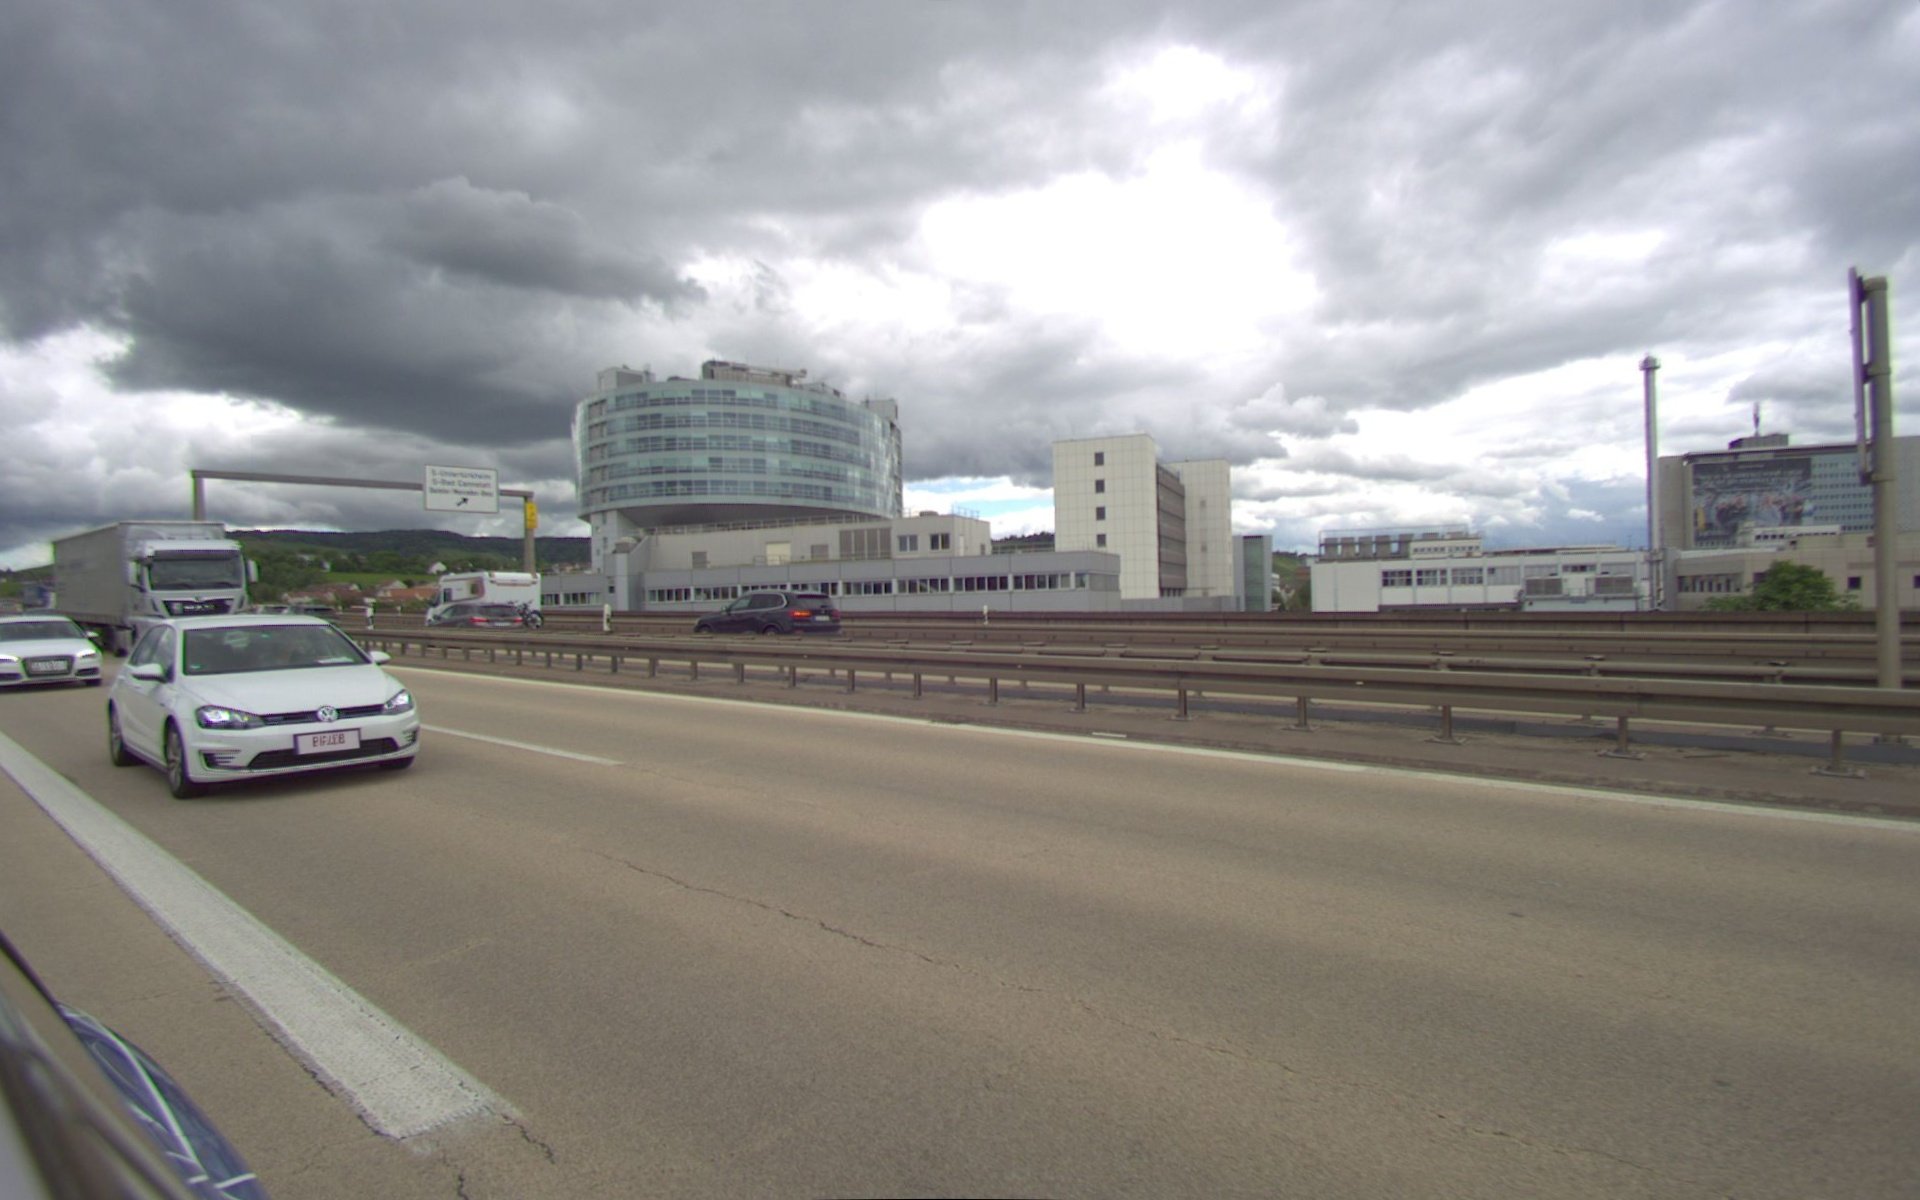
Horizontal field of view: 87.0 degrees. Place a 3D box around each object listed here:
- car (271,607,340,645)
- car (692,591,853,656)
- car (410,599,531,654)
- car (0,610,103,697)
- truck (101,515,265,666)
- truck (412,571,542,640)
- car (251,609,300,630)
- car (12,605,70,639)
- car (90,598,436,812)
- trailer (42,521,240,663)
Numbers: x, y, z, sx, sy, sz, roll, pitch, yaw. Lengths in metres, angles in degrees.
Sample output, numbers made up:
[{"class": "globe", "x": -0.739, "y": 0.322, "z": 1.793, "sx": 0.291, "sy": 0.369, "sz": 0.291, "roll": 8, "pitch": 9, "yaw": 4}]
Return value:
[{"class": "car", "x": -28.853, "y": 1.140, "z": 44.561, "sx": 3.718, "sy": 1.597, "sz": 1.627, "roll": -2, "pitch": -2, "yaw": 42}, {"class": "car", "x": -5.282, "y": 0.660, "z": 28.151, "sx": 4.629, "sy": 1.648, "sz": 1.973, "roll": -2, "pitch": -2, "yaw": 41}, {"class": "car", "x": -15.770, "y": 0.843, "z": 32.526, "sx": 4.452, "sy": 1.648, "sz": 1.972, "roll": -2, "pitch": -2, "yaw": 42}, {"class": "car", "x": -18.720, "y": 1.026, "z": 20.344, "sx": 4.000, "sy": 1.529, "sz": 1.764, "roll": -1, "pitch": 2, "yaw": 43}, {"class": "truck", "x": -22.833, "y": -0.289, "z": 29.686, "sx": 4.789, "sy": 4.041, "sz": 2.827, "roll": 0, "pitch": 2, "yaw": 41}, {"class": "truck", "x": -20.251, "y": 0.310, "z": 42.232, "sx": 7.349, "sy": 2.646, "sz": 2.463, "roll": -2, "pitch": -2, "yaw": 44}, {"class": "car", "x": -42.872, "y": 1.254, "z": 63.358, "sx": 4.282, "sy": 1.244, "sz": 1.624, "roll": -2, "pitch": -2, "yaw": 44}, {"class": "car", "x": -46.239, "y": 1.123, "z": 50.901, "sx": 4.000, "sy": 1.529, "sz": 1.764, "roll": -1, "pitch": 3, "yaw": 43}, {"class": "car", "x": -6.544, "y": 0.800, "z": 9.333, "sx": 3.998, "sy": 1.508, "sz": 1.691, "roll": -1, "pitch": 1, "yaw": 42}, {"class": "trailer", "x": -28.191, "y": -0.242, "z": 34.409, "sx": 13.968, "sy": 4.041, "sz": 2.827, "roll": 0, "pitch": 2, "yaw": 41}]
